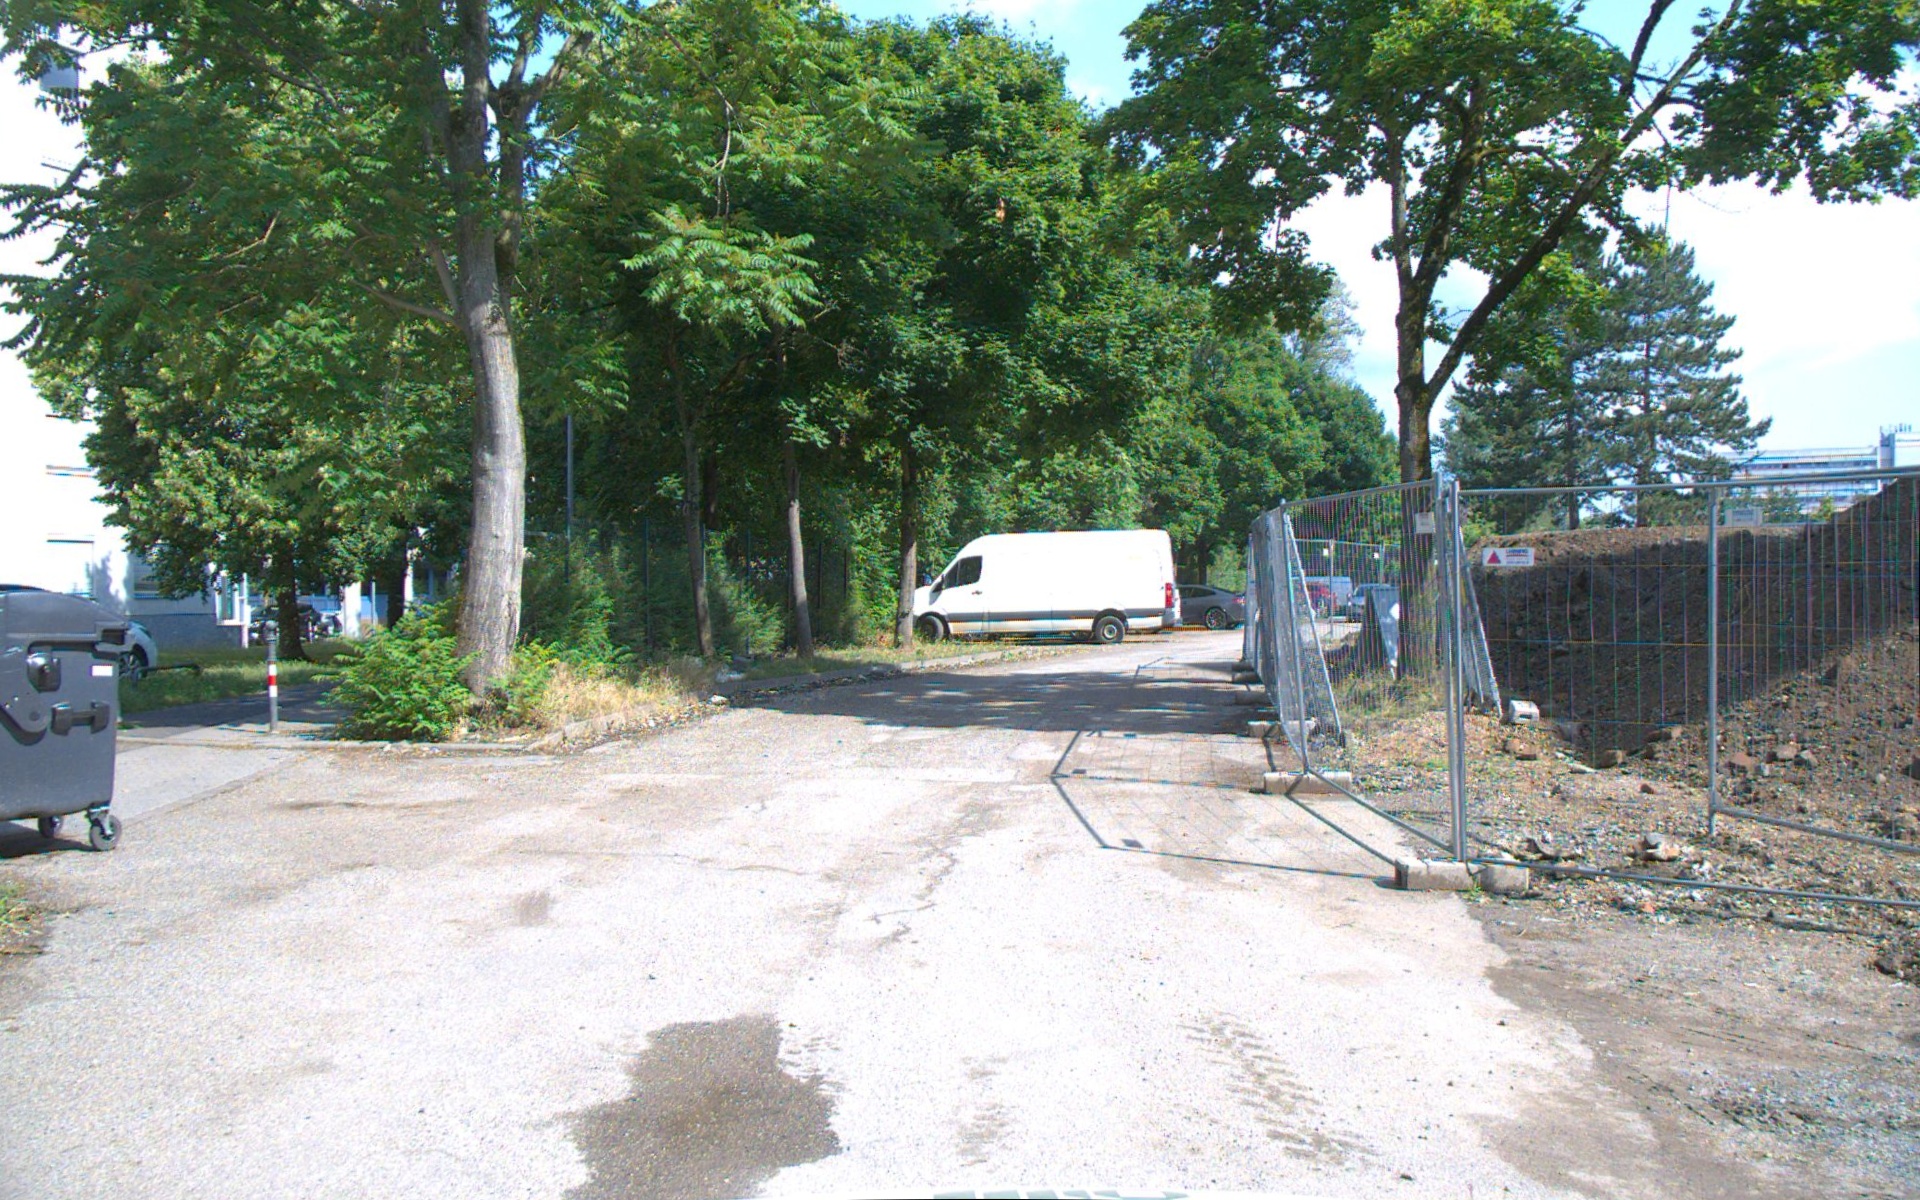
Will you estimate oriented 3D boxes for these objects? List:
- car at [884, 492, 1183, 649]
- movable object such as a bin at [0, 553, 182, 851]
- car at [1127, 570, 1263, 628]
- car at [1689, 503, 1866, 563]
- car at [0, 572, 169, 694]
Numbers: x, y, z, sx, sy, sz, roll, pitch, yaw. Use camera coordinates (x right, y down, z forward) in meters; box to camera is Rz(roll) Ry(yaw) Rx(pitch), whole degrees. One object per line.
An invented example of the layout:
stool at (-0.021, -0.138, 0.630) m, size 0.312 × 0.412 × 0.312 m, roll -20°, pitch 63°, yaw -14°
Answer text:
car at (1.789, -0.707, 39.895) m, size 6.808 × 3.100 × 2.001 m, roll 5°, pitch 0°, yaw 5°
movable object such as a bin at (-5.326, 0.524, 9.222) m, size 1.273 × 1.507 × 1.243 m, roll 7°, pitch -1°, yaw 41°
car at (7.398, -0.019, 51.975) m, size 3.905 × 1.453 × 1.845 m, roll 4°, pitch -2°, yaw 18°
car at (25.372, -2.083, 51.533) m, size 4.756 × 1.453 × 1.844 m, roll 4°, pitch -2°, yaw 23°
car at (-12.207, 0.385, 20.816) m, size 1.717 × 1.445 × 3.917 m, roll 3°, pitch 0°, yaw 20°
